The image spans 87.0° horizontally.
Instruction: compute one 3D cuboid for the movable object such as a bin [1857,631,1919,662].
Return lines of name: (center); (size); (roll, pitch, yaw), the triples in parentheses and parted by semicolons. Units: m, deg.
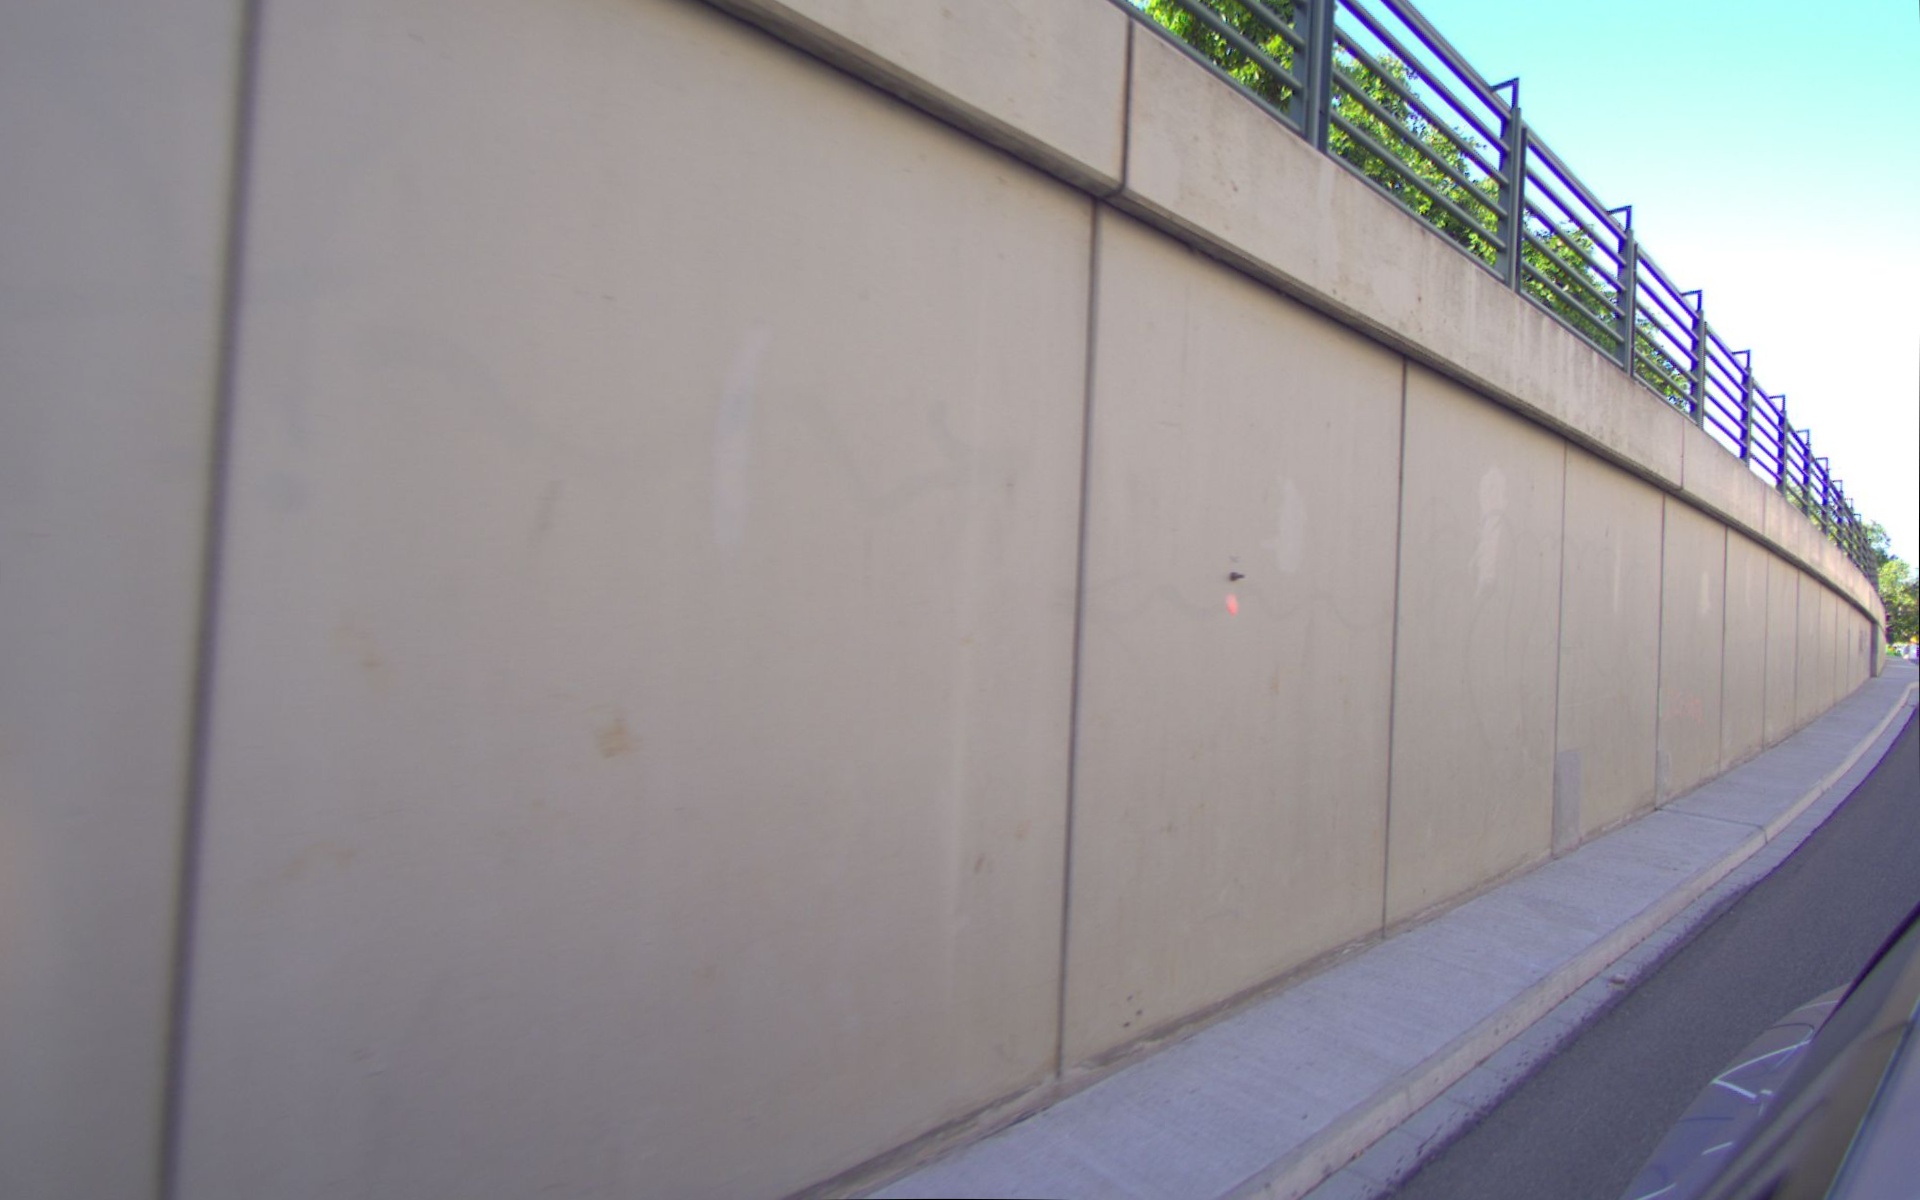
movable object such as a bin: (71.167, 3.561, 77.406); (3.210, 2.103, 2.092); (3, -1, 25)
